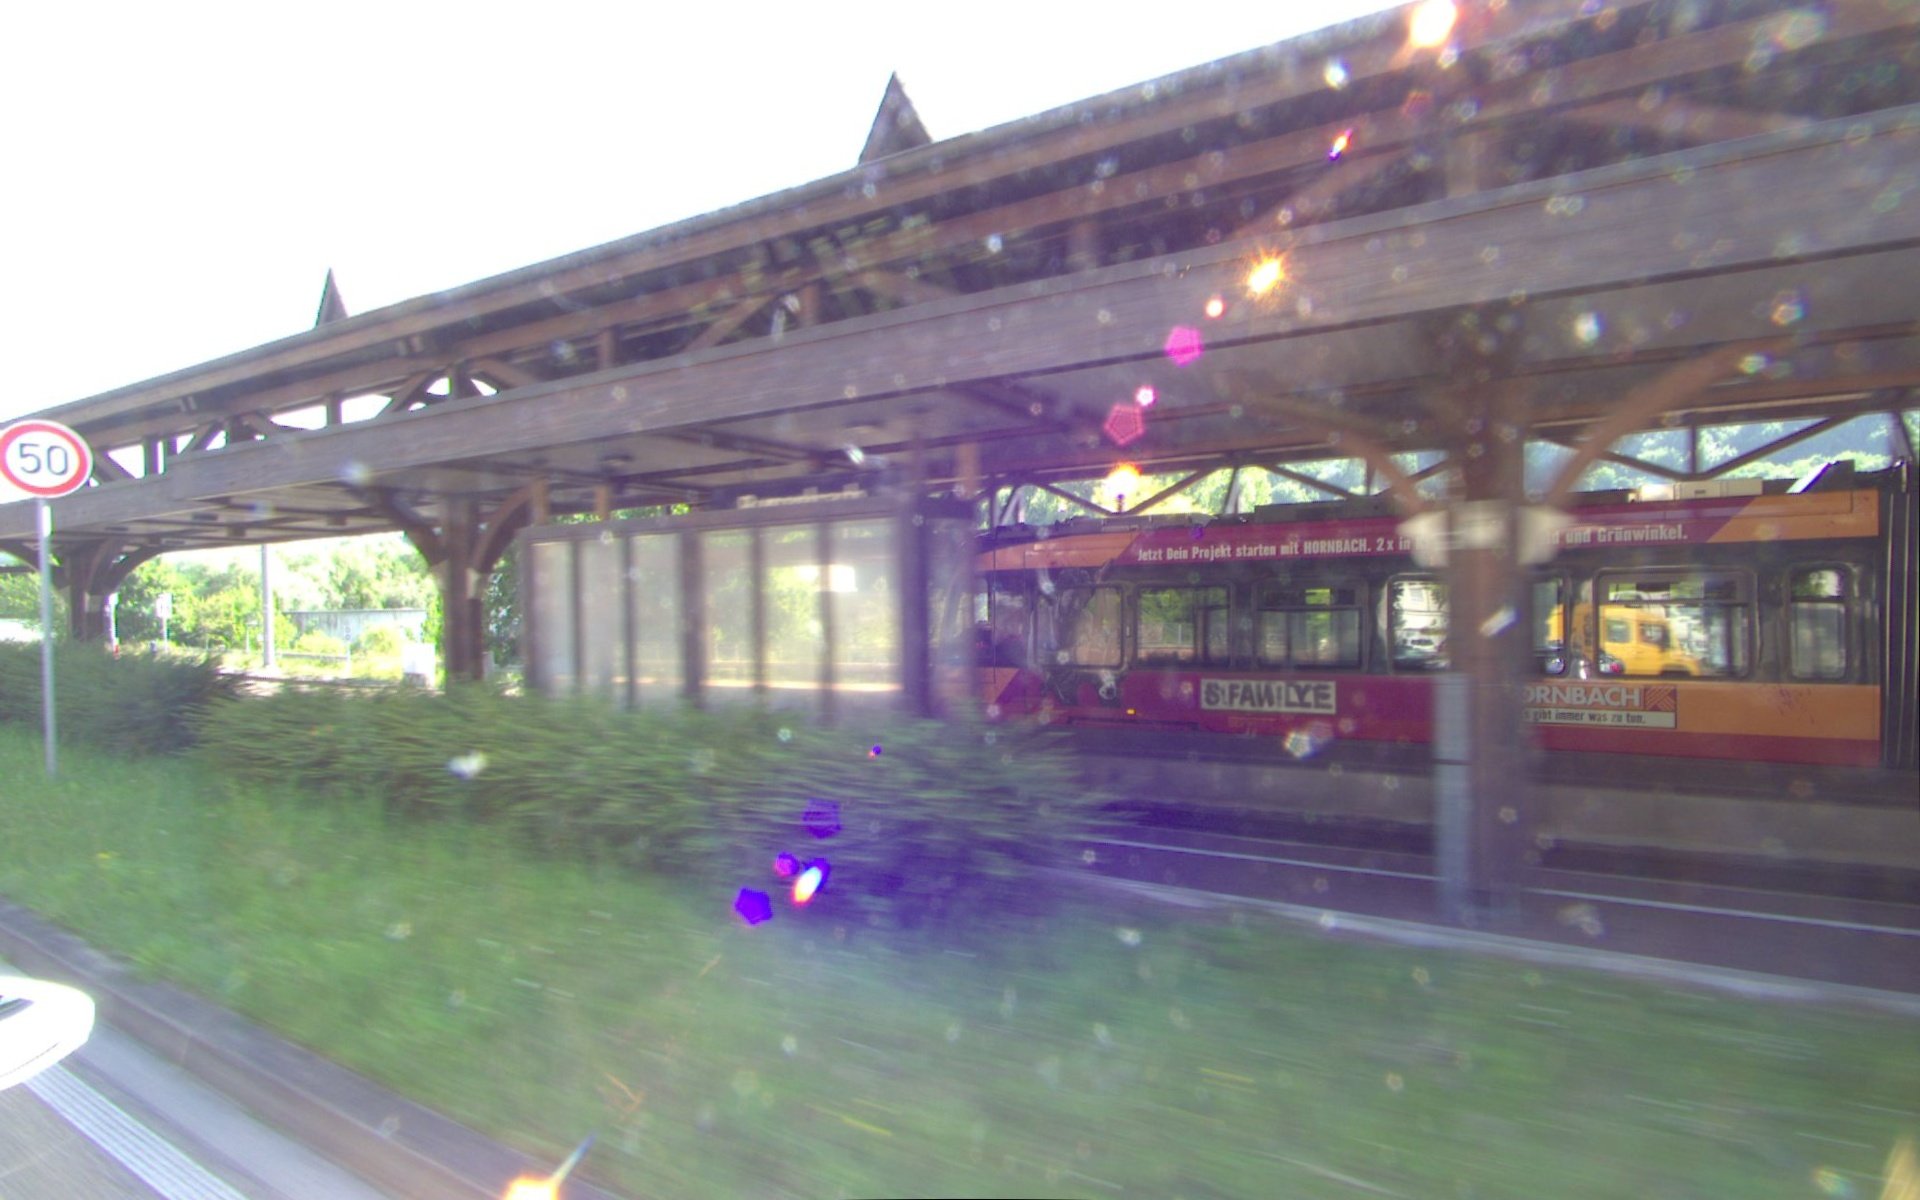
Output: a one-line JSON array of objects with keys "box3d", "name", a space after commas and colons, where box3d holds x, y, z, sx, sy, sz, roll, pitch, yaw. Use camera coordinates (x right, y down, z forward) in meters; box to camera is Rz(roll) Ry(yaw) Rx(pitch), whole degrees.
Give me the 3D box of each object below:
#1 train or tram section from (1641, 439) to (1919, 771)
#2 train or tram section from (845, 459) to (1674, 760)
[{"box3d": [13.777, 0.062, 9.521, 11.870, 3.406, 2.784, -1, -2, 31], "name": "train or tram section"}, {"box3d": [3.752, 0.154, 15.668, 11.873, 3.407, 2.752, 0, -2, 32], "name": "train or tram section"}]
